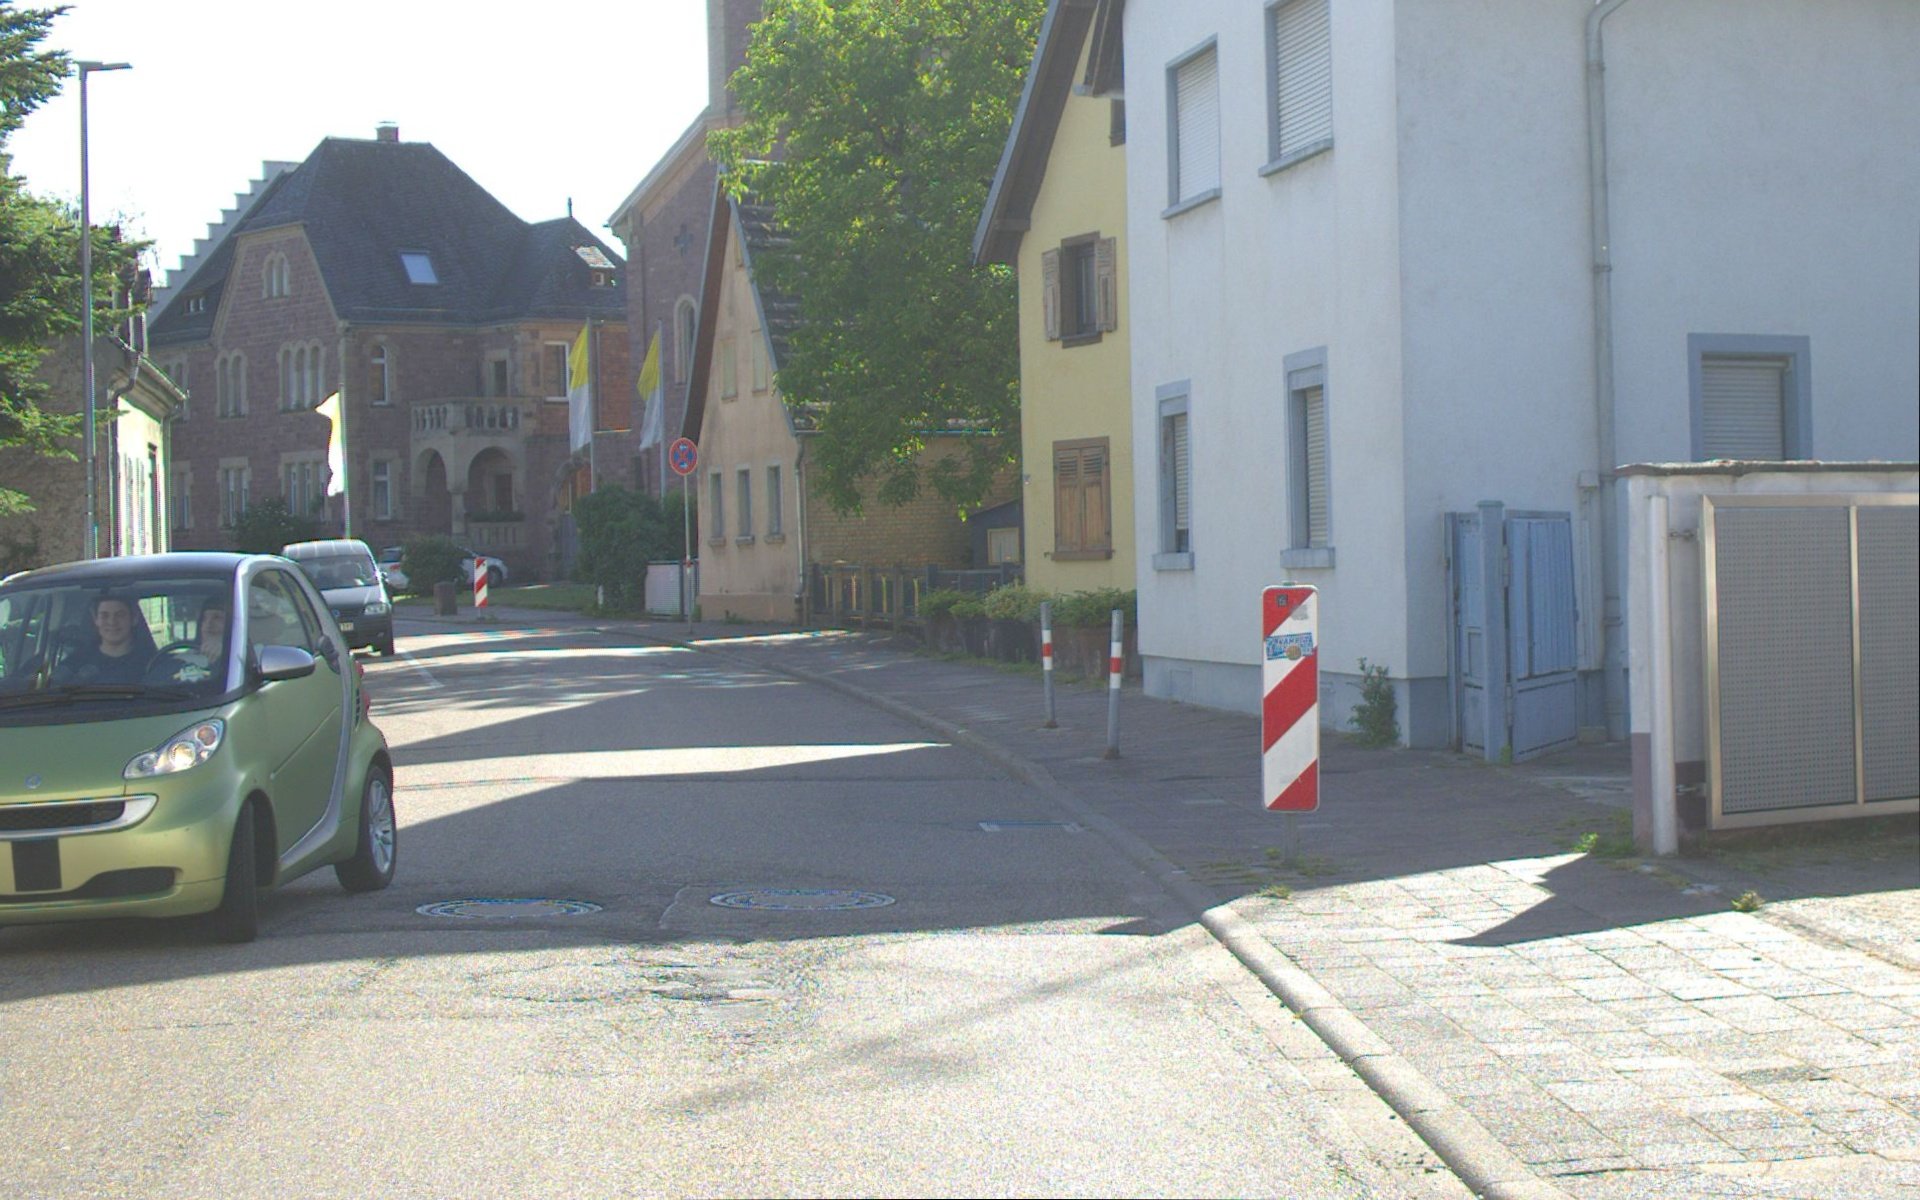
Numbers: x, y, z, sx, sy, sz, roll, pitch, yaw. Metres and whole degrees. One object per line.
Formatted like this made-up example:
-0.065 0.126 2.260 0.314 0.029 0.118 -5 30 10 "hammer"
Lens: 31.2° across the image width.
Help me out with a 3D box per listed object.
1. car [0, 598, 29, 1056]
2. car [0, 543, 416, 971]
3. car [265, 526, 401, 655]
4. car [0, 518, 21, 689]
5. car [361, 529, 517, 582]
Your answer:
-4.043 0.342 7.776 2.197 2.381 6.065 -3 2 -1 "car"
-3.393 0.576 14.384 1.574 1.541 2.965 -2 2 3 "car"
-9.810 -0.190 53.593 1.825 1.808 4.203 -4 2 -12 "car"
-12.105 0.079 39.725 1.939 1.948 5.144 -2 2 -10 "car"
-15.251 -1.311 100.789 4.236 1.396 1.717 -3 2 -42 "car"
